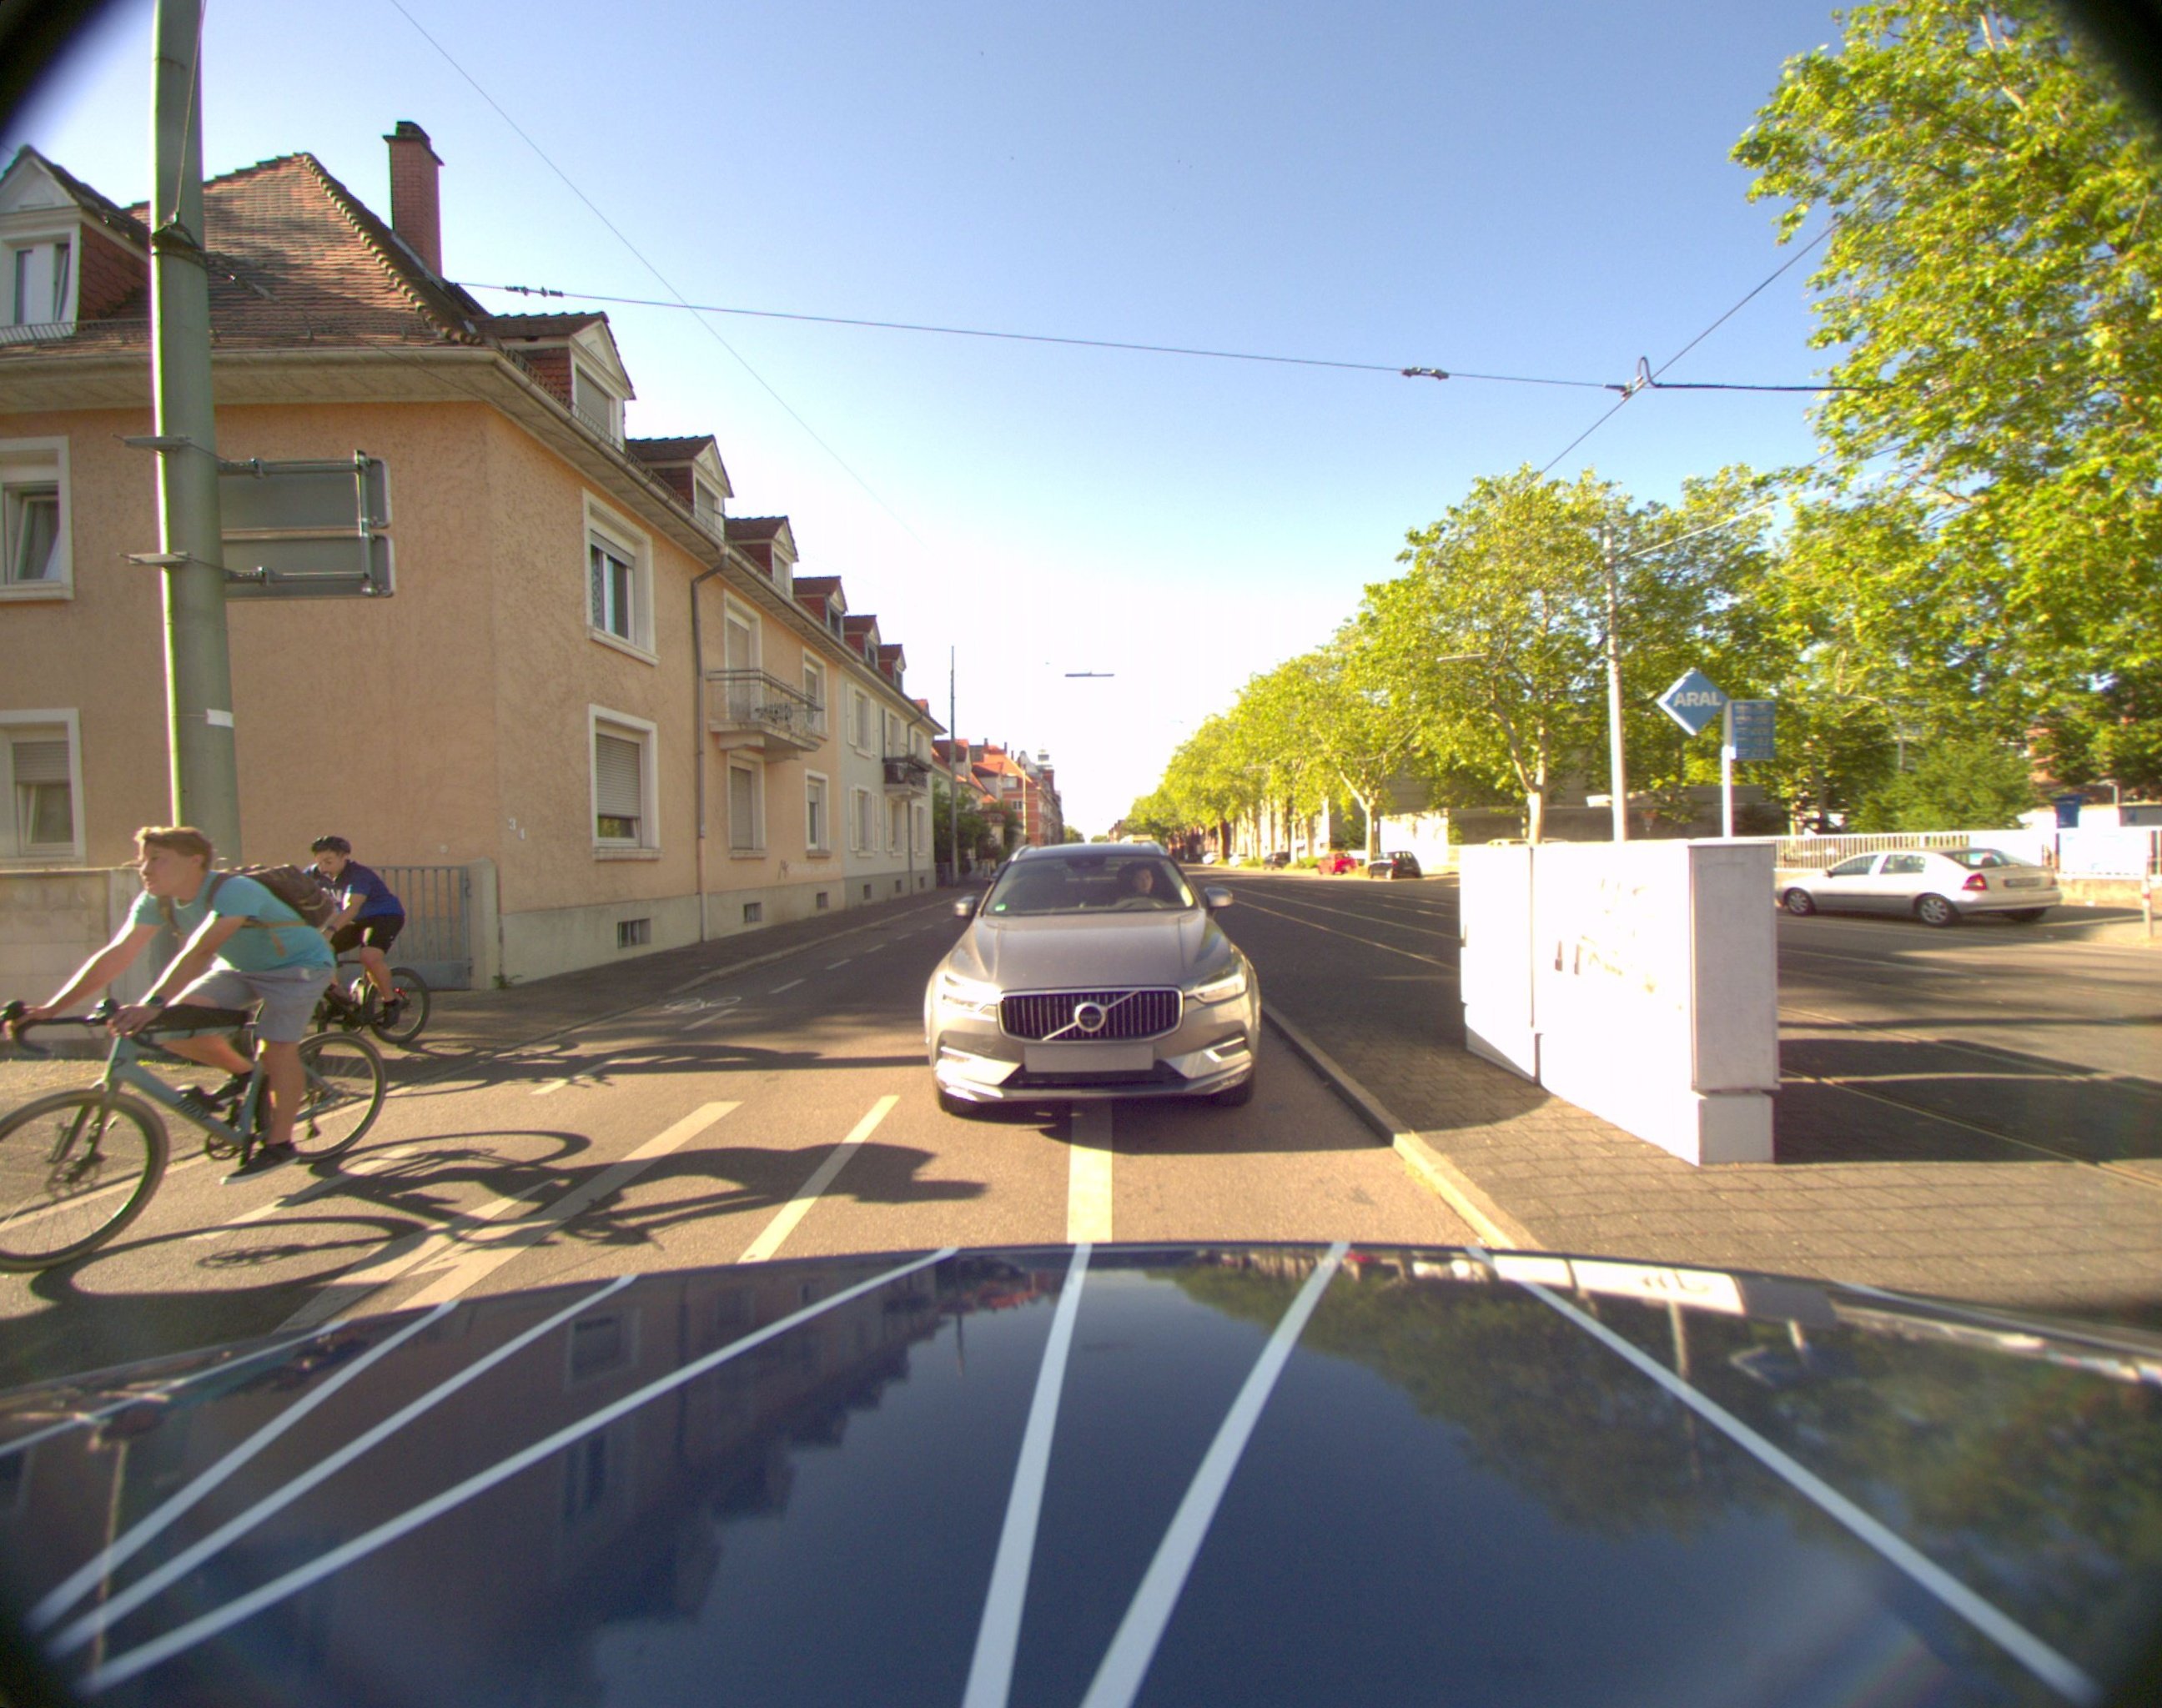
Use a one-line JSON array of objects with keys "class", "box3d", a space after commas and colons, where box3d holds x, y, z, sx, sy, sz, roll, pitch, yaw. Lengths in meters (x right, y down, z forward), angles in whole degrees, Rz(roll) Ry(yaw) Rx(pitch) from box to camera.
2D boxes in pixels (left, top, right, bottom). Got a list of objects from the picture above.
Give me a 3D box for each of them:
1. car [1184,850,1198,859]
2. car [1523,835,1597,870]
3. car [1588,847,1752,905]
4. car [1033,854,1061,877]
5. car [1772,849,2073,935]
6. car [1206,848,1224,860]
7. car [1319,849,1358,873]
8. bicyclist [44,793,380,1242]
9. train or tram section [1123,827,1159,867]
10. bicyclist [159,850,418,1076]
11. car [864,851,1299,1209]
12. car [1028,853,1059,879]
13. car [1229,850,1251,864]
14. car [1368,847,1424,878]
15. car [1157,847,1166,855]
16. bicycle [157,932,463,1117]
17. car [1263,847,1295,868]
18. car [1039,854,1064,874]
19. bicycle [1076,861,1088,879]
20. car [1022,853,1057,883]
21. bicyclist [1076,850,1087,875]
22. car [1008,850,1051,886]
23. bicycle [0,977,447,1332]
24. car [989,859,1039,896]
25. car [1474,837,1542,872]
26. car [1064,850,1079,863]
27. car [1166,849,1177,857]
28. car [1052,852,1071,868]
[{"class": "car", "box3d": [18.200, 0.071, 125.528, 1.695, 1.440, 3.749, -3, 0, 1]}, {"class": "car", "box3d": [23.880, -0.079, 38.030, 1.599, 1.583, 3.304, -2, 0, 1]}, {"class": "car", "box3d": [16.411, 0.563, 21.422, 1.695, 1.395, 3.749, -3, 0, 1]}, {"class": "car", "box3d": [-2.719, 0.886, 61.035, 1.793, 1.673, 3.814, -3, 0, 2]}, {"class": "car", "box3d": [16.226, 0.643, 14.987, 1.695, 1.395, 3.813, -3, 0, 1]}, {"class": "car", "box3d": [17.794, 0.027, 100.719, 1.695, 1.440, 3.749, -3, 0, 1]}, {"class": "car", "box3d": [16.878, 0.437, 49.872, 1.599, 1.498, 2.622, -3, 0, 1]}, {"class": "bicyclist", "box3d": [-4.205, 0.721, 3.768, 0.519, 1.922, 0.946, -1, -2, 5]}, {"class": "train or tram section", "box3d": [5.984, -0.700, 77.613, 2.717, 3.643, 12.653, -1, 0, 0]}, {"class": "bicyclist", "box3d": [-6.226, 0.805, 6.042, 1.051, 1.599, 0.885, 4, 0, 1]}, {"class": "car", "box3d": [0.030, 0.829, 5.758, 1.998, 1.628, 4.306, -2, 0, 1]}, {"class": "car", "box3d": [-2.632, 0.836, 54.010, 1.793, 1.673, 3.814, -3, 0, 2]}, {"class": "car", "box3d": [17.464, 0.294, 83.548, 1.695, 1.440, 3.749, -3, 0, 1]}, {"class": "car", "box3d": [16.885, 0.429, 40.901, 1.599, 1.498, 3.304, -3, 0, 1]}, {"class": "car", "box3d": [20.242, -0.729, 191.419, 1.695, 1.775, 3.749, -3, 0, 1]}, {"class": "bicycle", "box3d": [-6.028, 1.267, 6.119, 0.592, 1.062, 1.775, 4, 0, 1]}, {"class": "car", "box3d": [17.138, 0.275, 65.894, 1.695, 1.648, 3.749, -3, 0, 1]}, {"class": "car", "box3d": [-2.551, 0.860, 67.080, 1.793, 1.673, 3.814, -3, 0, 2]}, {"class": "bicycle", "box3d": [0.053, 1.010, 49.089, 0.685, 1.098, 1.806, -2, 1, 1]}, {"class": "car", "box3d": [-2.585, 0.855, 48.490, 1.793, 1.673, 3.814, -3, 0, 2]}, {"class": "bicyclist", "box3d": [0.031, 0.534, 48.994, 0.685, 1.611, 0.855, -2, 1, 1]}, {"class": "car", "box3d": [-2.824, 0.743, 42.825, 1.793, 1.828, 5.149, -3, 0, 2]}, {"class": "bicycle", "box3d": [-4.193, 1.268, 3.749, 0.519, 1.084, 1.797, -1, -2, 5]}, {"class": "car", "box3d": [-3.223, 1.085, 37.052, 1.695, 1.571, 3.815, -3, 0, 5]}, {"class": "car", "box3d": [21.547, 0.017, 38.478, 1.599, 1.606, 3.304, -2, 0, 1]}, {"class": "car", "box3d": [-1.292, 0.364, 107.108, 1.793, 1.673, 3.814, -3, 0, 2]}, {"class": "car", "box3d": [19.270, -0.195, 161.882, 1.695, 1.440, 3.749, -3, 0, 1]}, {"class": "car", "box3d": [-2.150, 0.635, 85.374, 1.793, 1.673, 3.814, -3, 0, 2]}]
